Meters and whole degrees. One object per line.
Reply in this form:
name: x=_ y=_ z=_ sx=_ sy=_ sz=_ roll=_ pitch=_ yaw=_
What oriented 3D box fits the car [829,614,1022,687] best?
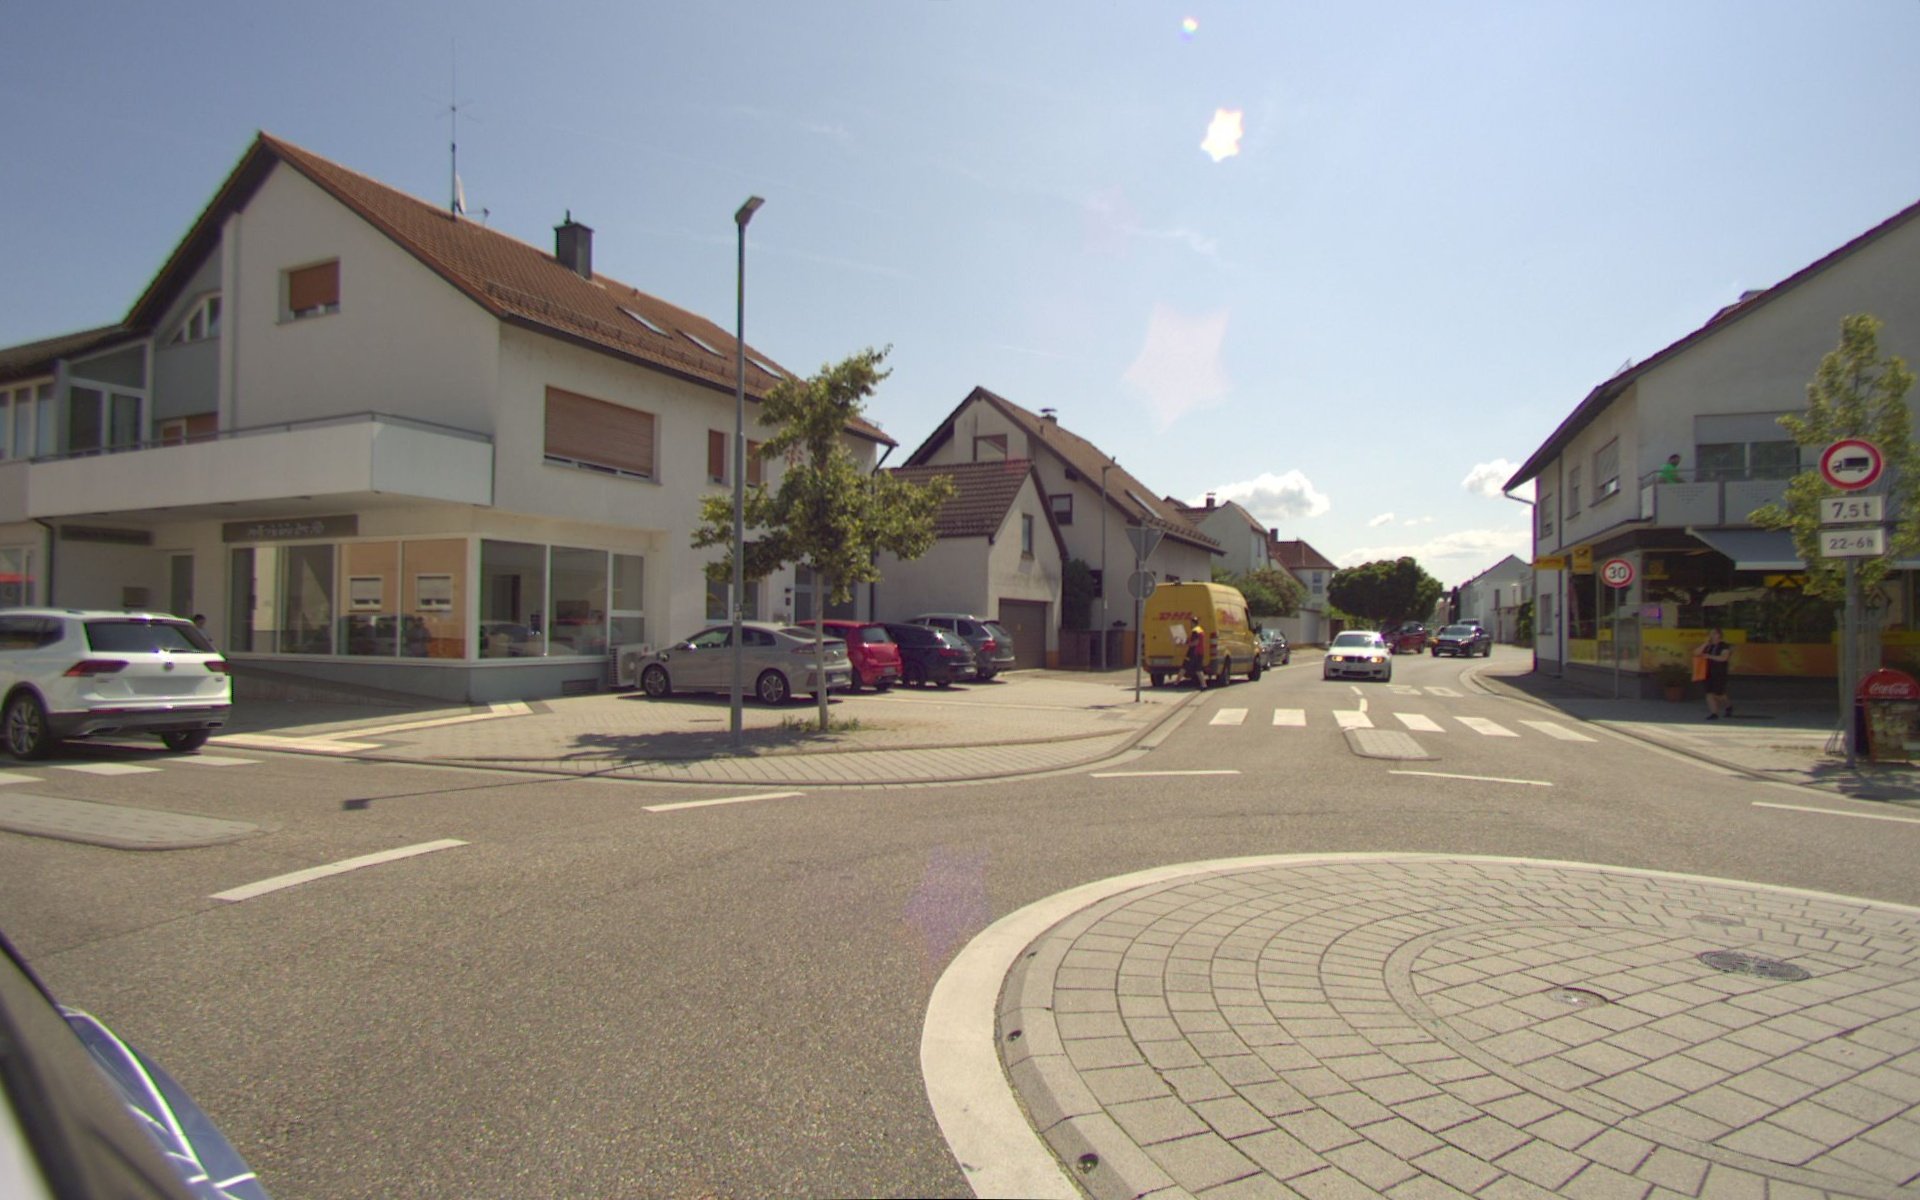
car: x=-0.920 y=1.274 z=26.802 sx=4.721 sy=1.752 sz=1.971 roll=0 pitch=-1 yaw=25

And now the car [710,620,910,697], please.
car: x=-3.209 y=1.201 z=21.707 sx=3.940 sy=1.488 sz=1.738 roll=0 pitch=-1 yaw=25

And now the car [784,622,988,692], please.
car: x=-1.746 y=1.290 z=23.748 sx=4.452 sy=1.462 sz=1.821 roll=0 pitch=-1 yaw=25

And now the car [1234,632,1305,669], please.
car: x=12.225 y=1.945 z=39.849 sx=1.780 sy=1.253 sz=3.932 roll=-1 pitch=0 yaw=31

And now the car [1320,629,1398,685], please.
car: x=11.996 y=1.640 z=30.259 sx=1.871 sy=1.460 sz=4.297 roll=0 pitch=-1 yaw=26

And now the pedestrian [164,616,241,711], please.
pedestrian: x=-13.434 y=1.103 z=17.957 sx=0.952 sy=1.595 sz=0.751 roll=0 pitch=0 yaw=27

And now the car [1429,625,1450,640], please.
car: x=60.444 y=4.079 z=127.614 sx=2.078 sy=1.867 sz=4.100 roll=0 pitch=-1 yaw=22

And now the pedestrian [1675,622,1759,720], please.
pedestrian: x=12.930 y=1.193 z=17.301 sx=0.865 sy=1.601 sz=0.752 roll=0 pitch=-2 yaw=-22

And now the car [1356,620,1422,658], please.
car: x=22.902 y=2.035 z=53.968 sx=3.914 sy=1.847 sz=1.875 roll=0 pitch=-1 yaw=-44

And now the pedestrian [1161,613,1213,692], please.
pedestrian: x=5.393 y=1.244 z=24.056 sx=1.017 sy=1.839 sz=0.777 roll=-2 pitch=-2 yaw=24

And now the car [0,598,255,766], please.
car: x=-10.939 y=0.905 z=12.115 sx=4.510 sy=1.723 sz=1.859 roll=0 pitch=-3 yaw=21

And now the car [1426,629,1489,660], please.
car: x=25.582 y=2.270 z=51.978 sx=1.879 sy=1.361 sz=4.357 roll=0 pitch=0 yaw=41

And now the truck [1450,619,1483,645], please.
truck: x=50.419 y=3.187 z=100.934 sx=2.230 sy=2.470 sz=5.829 roll=0 pitch=-2 yaw=20

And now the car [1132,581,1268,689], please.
car: x=6.595 y=0.958 z=27.297 sx=2.104 sy=2.592 sz=5.627 roll=-1 pitch=-2 yaw=29

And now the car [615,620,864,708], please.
car: x=-4.208 y=1.151 z=19.284 sx=4.452 sy=1.462 sz=1.821 roll=0 pitch=-1 yaw=25
